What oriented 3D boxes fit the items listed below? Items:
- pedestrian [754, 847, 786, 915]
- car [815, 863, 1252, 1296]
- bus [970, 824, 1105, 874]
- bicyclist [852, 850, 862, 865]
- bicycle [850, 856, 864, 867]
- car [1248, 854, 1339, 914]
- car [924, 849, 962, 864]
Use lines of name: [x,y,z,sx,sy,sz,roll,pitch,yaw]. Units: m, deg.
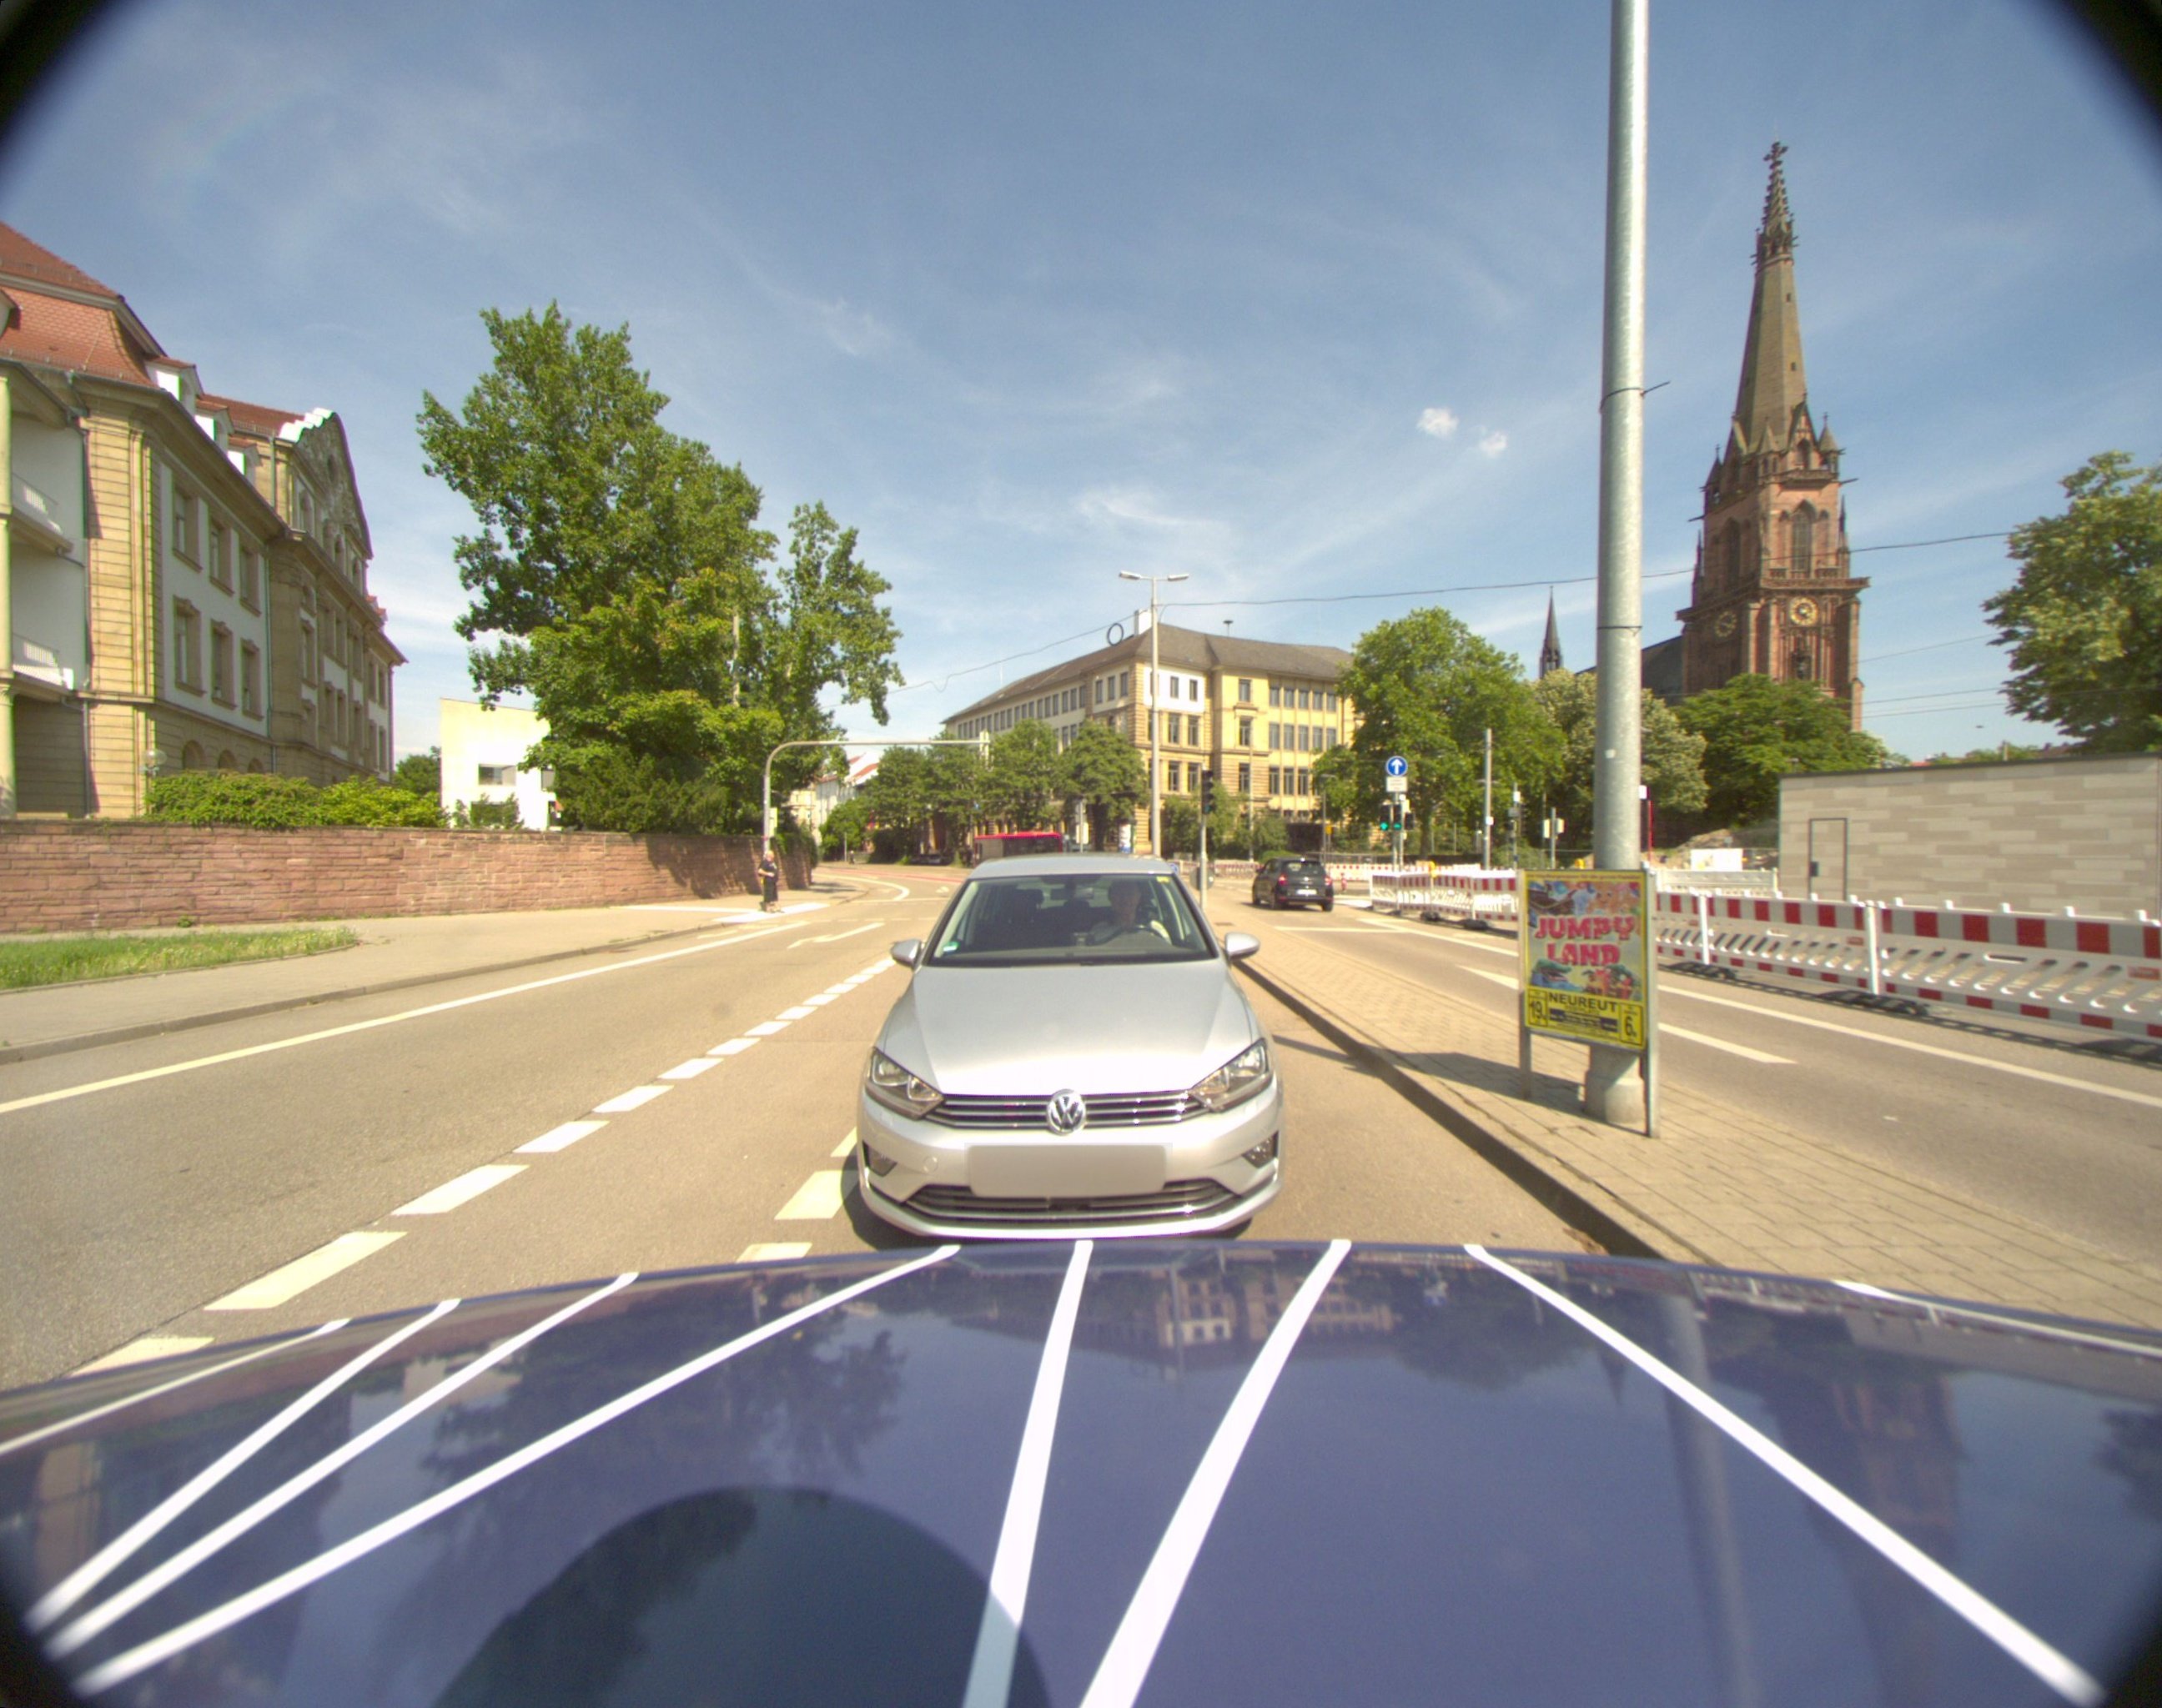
pedestrian: [-9.199,0.786,22.502,0.796,2.002,0.615,0,1,-14]
car: [-0.093,0.890,5.015,1.687,1.577,4.152,0,0,3]
bus: [-3.392,-0.265,52.722,3.138,3.076,12.381,-3,1,-35]
bicyclist: [-29.311,0.444,99.259,0.860,2.002,1.233,-3,1,-32]
bicycle: [-29.234,1.032,99.211,0.832,1.394,3.461,-3,1,-32]
car: [6.161,0.820,22.441,1.665,1.565,3.632,1,0,0]
car: [-16.887,0.262,93.150,4.006,1.653,1.994,-3,4,-35]
